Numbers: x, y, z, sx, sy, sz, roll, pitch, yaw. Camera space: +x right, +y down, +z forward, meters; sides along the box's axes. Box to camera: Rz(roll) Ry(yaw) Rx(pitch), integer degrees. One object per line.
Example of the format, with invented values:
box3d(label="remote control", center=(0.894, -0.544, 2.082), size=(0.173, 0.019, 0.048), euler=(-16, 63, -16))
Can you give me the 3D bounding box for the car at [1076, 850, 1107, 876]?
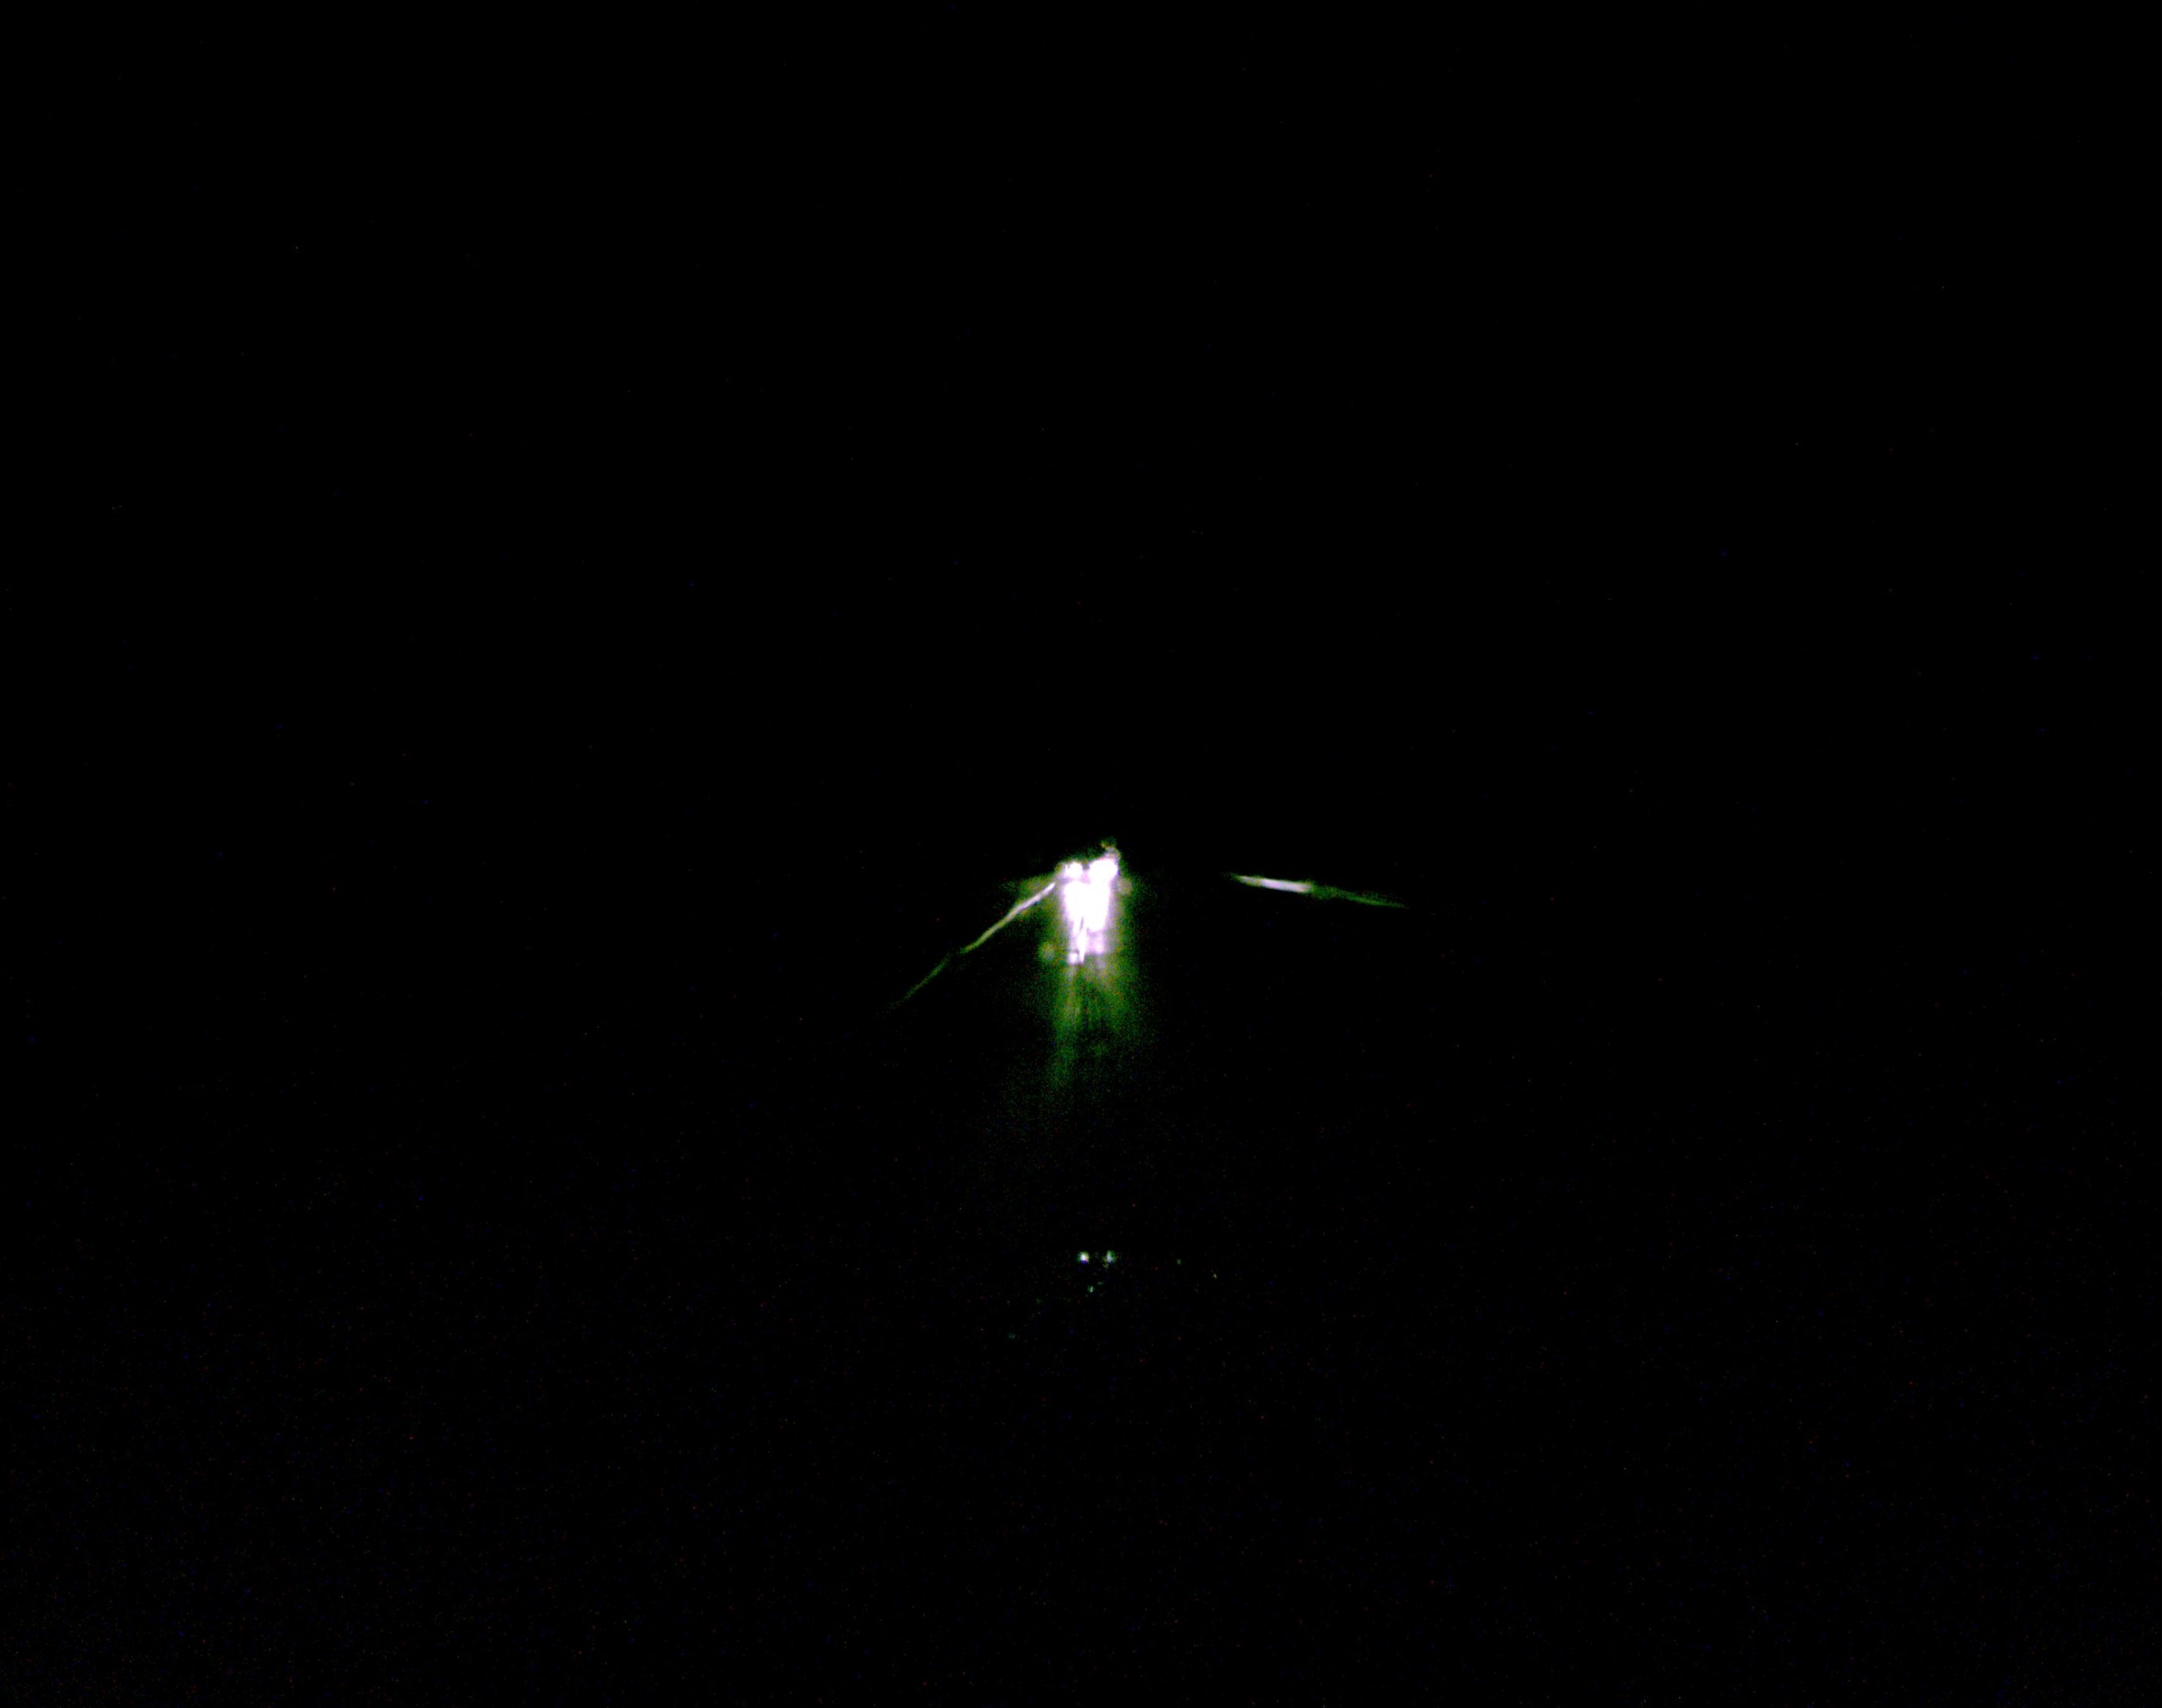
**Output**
box3d(label="car", center=(0.691, 0.579, 48.134), size=(1.901, 1.551, 4.002), euler=(0, -2, 2))
